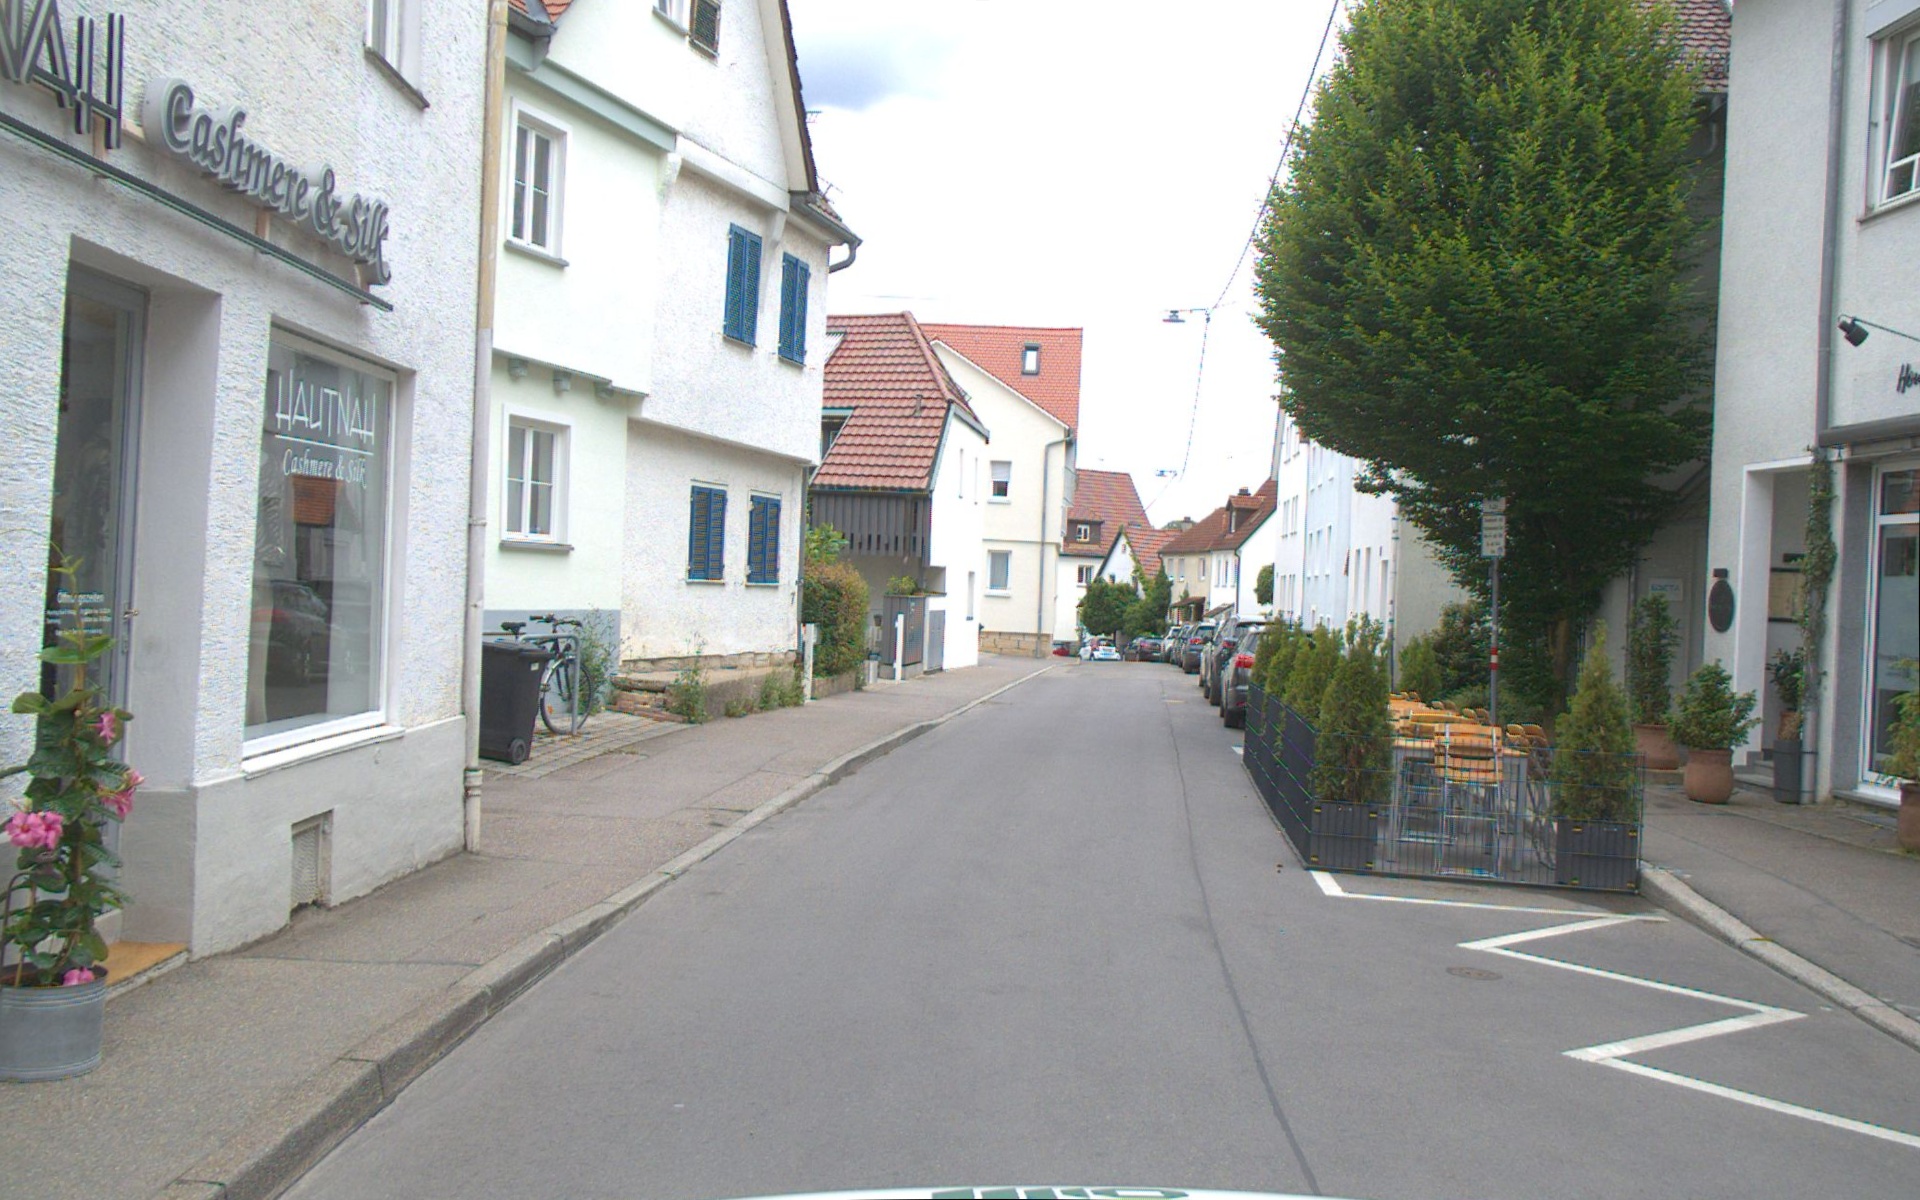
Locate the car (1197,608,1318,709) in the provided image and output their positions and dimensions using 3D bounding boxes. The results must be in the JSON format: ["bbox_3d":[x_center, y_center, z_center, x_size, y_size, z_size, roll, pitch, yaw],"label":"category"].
[{"bbox_3d":[5.515,1.053,31.178,1.823,1.662,4.904,2,-1,6],"label":"car"}]

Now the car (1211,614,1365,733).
[{"bbox_3d":[4.881,1.039,25.225,1.907,1.534,4.823,3,0,7],"label":"car"}]

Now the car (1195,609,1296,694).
[{"bbox_3d":[6.312,1.090,37.015,1.951,1.643,4.882,4,0,8],"label":"car"}]

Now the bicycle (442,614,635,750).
[{"bbox_3d":[-3.647,0.678,14.514,0.433,1.056,2.093,7,2,20],"label":"bicycle"}]

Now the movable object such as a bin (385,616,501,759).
[{"bbox_3d":[-4.091,0.680,13.115,0.557,1.016,0.600,7,3,15],"label":"movable object such as a bin"}]

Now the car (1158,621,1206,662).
[{"bbox_3d":[10.078,1.911,75.341,1.834,1.743,4.149,2,-2,3],"label":"car"}]

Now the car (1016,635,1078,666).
[{"bbox_3d":[5.316,3.106,101.127,1.971,1.713,3.962,-3,-2,-28],"label":"car"}]

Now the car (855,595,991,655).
[{"bbox_3d":[-1.086,0.767,50.197,3.652,1.436,2.122,5,-2,11],"label":"car"}]

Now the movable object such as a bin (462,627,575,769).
[{"bbox_3d":[-3.509,0.765,13.172,0.542,1.016,0.587,7,3,17],"label":"movable object such as a bin"}]

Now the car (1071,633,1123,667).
[{"bbox_3d":[7.886,2.856,95.352,1.928,1.743,3.989,3,0,-11],"label":"car"}]

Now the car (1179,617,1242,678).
[{"bbox_3d":[7.548,1.401,50.139,1.716,1.656,4.538,4,0,8],"label":"car"}]

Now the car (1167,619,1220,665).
[{"bbox_3d":[9.192,1.663,65.345,1.700,1.638,4.002,5,-1,5],"label":"car"}]

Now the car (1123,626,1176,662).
[{"bbox_3d":[9.830,2.301,86.189,1.955,1.743,3.994,2,-3,-5],"label":"car"}]
